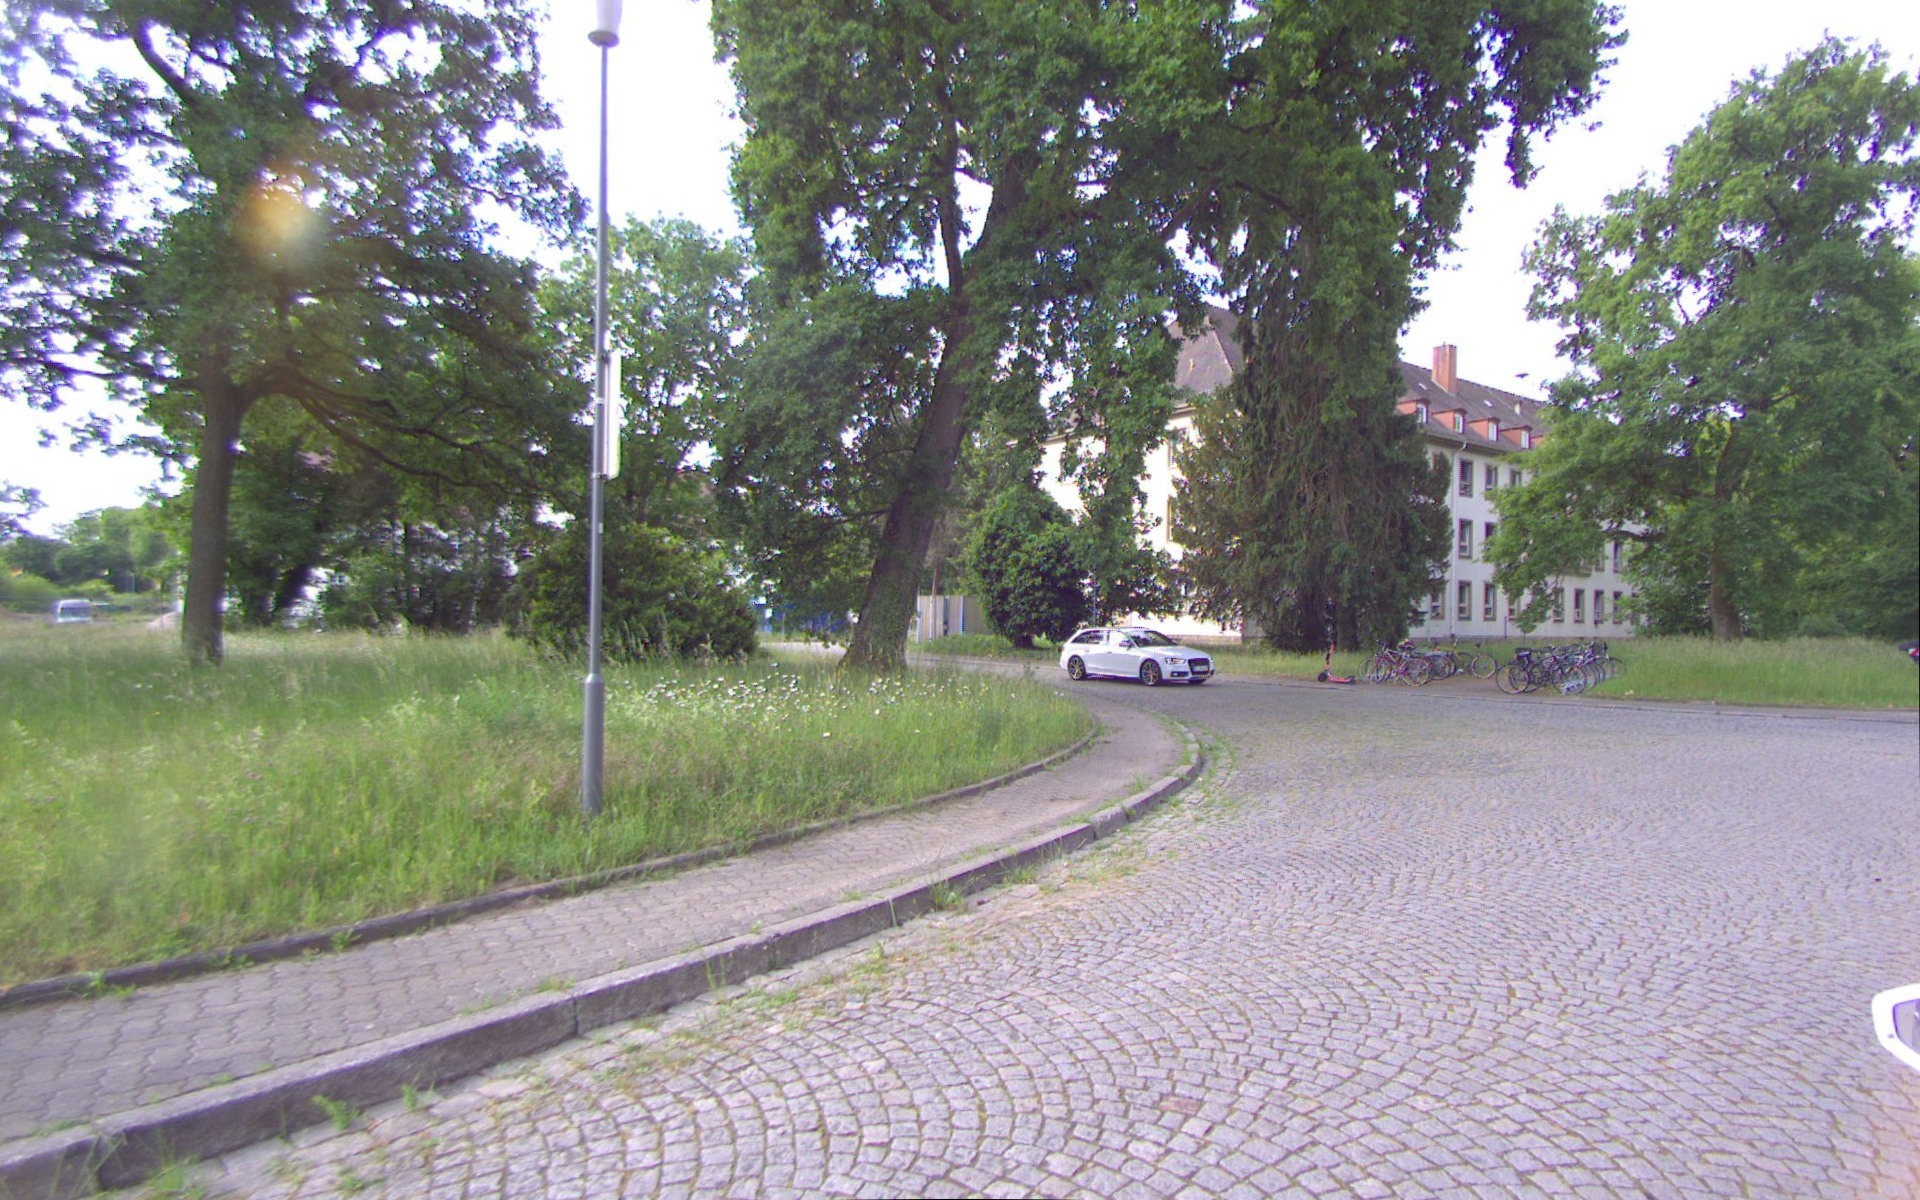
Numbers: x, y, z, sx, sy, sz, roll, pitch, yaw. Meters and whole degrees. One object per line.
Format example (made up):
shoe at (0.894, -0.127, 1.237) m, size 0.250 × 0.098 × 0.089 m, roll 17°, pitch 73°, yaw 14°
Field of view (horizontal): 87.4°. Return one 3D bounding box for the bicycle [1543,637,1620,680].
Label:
bicycle at (17.075, 1.586, 27.630) m, size 1.748 × 1.120 × 0.539 m, roll -2°, pitch 0°, yaw 37°

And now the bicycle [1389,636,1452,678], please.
bicycle at (12.869, 1.585, 28.092) m, size 1.599 × 1.088 × 0.539 m, roll 0°, pitch 1°, yaw 26°

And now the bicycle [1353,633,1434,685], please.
bicycle at (11.353, 1.520, 26.325) m, size 1.871 × 1.239 × 0.641 m, roll 0°, pitch 1°, yaw 37°

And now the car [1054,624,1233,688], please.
car at (4.647, 1.370, 26.080) m, size 1.836 × 1.456 × 4.659 m, roll 1°, pitch -1°, yaw -35°

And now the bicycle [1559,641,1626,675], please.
bicycle at (18.170, 1.653, 28.866) m, size 1.595 × 0.923 × 0.525 m, roll -2°, pitch 0°, yaw 37°

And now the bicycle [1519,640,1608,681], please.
bicycle at (15.723, 1.565, 26.189) m, size 1.929 × 1.018 × 0.684 m, roll -2°, pitch 0°, yaw 37°

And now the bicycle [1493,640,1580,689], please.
bicycle at (14.090, 1.563, 24.568) m, size 1.745 × 1.118 × 0.700 m, roll -2°, pitch 0°, yaw 37°

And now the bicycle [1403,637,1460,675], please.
bicycle at (13.715, 1.623, 29.246) m, size 1.488 × 1.049 × 0.544 m, roll 0°, pitch 1°, yaw 26°

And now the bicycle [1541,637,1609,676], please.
bicycle at (17.552, 1.601, 28.678) m, size 1.595 × 1.073 × 0.525 m, roll -2°, pitch 0°, yaw 37°

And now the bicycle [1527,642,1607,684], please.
bicycle at (15.367, 1.574, 25.433) m, size 1.669 × 1.015 × 0.630 m, roll -2°, pitch 0°, yaw 37°

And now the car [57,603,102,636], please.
car at (-62.333, 1.383, 71.170) m, size 2.020 × 2.040 × 4.183 m, roll 2°, pitch 1°, yaw -37°

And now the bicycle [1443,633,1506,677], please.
bicycle at (14.956, 1.584, 29.232) m, size 1.615 × 1.201 × 0.573 m, roll 0°, pitch 1°, yaw 30°

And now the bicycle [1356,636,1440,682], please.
bicycle at (11.712, 1.561, 26.879) m, size 1.959 × 1.129 × 0.641 m, roll 0°, pitch 1°, yaw 37°

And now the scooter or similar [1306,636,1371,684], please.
scooter or similar at (10.114, 1.596, 26.892) m, size 0.674 × 1.211 × 1.540 m, roll 0°, pitch -1°, yaw -31°

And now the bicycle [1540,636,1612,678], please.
bicycle at (17.276, 1.577, 28.172) m, size 1.675 × 1.131 × 0.539 m, roll -2°, pitch 0°, yaw 37°

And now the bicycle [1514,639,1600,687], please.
bicycle at (14.809, 1.539, 24.942) m, size 1.770 × 1.118 × 0.700 m, roll -2°, pitch 0°, yaw 37°

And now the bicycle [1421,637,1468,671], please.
bicycle at (15.122, 1.685, 31.367) m, size 1.243 × 1.042 × 0.432 m, roll -2°, pitch -4°, yaw 37°
